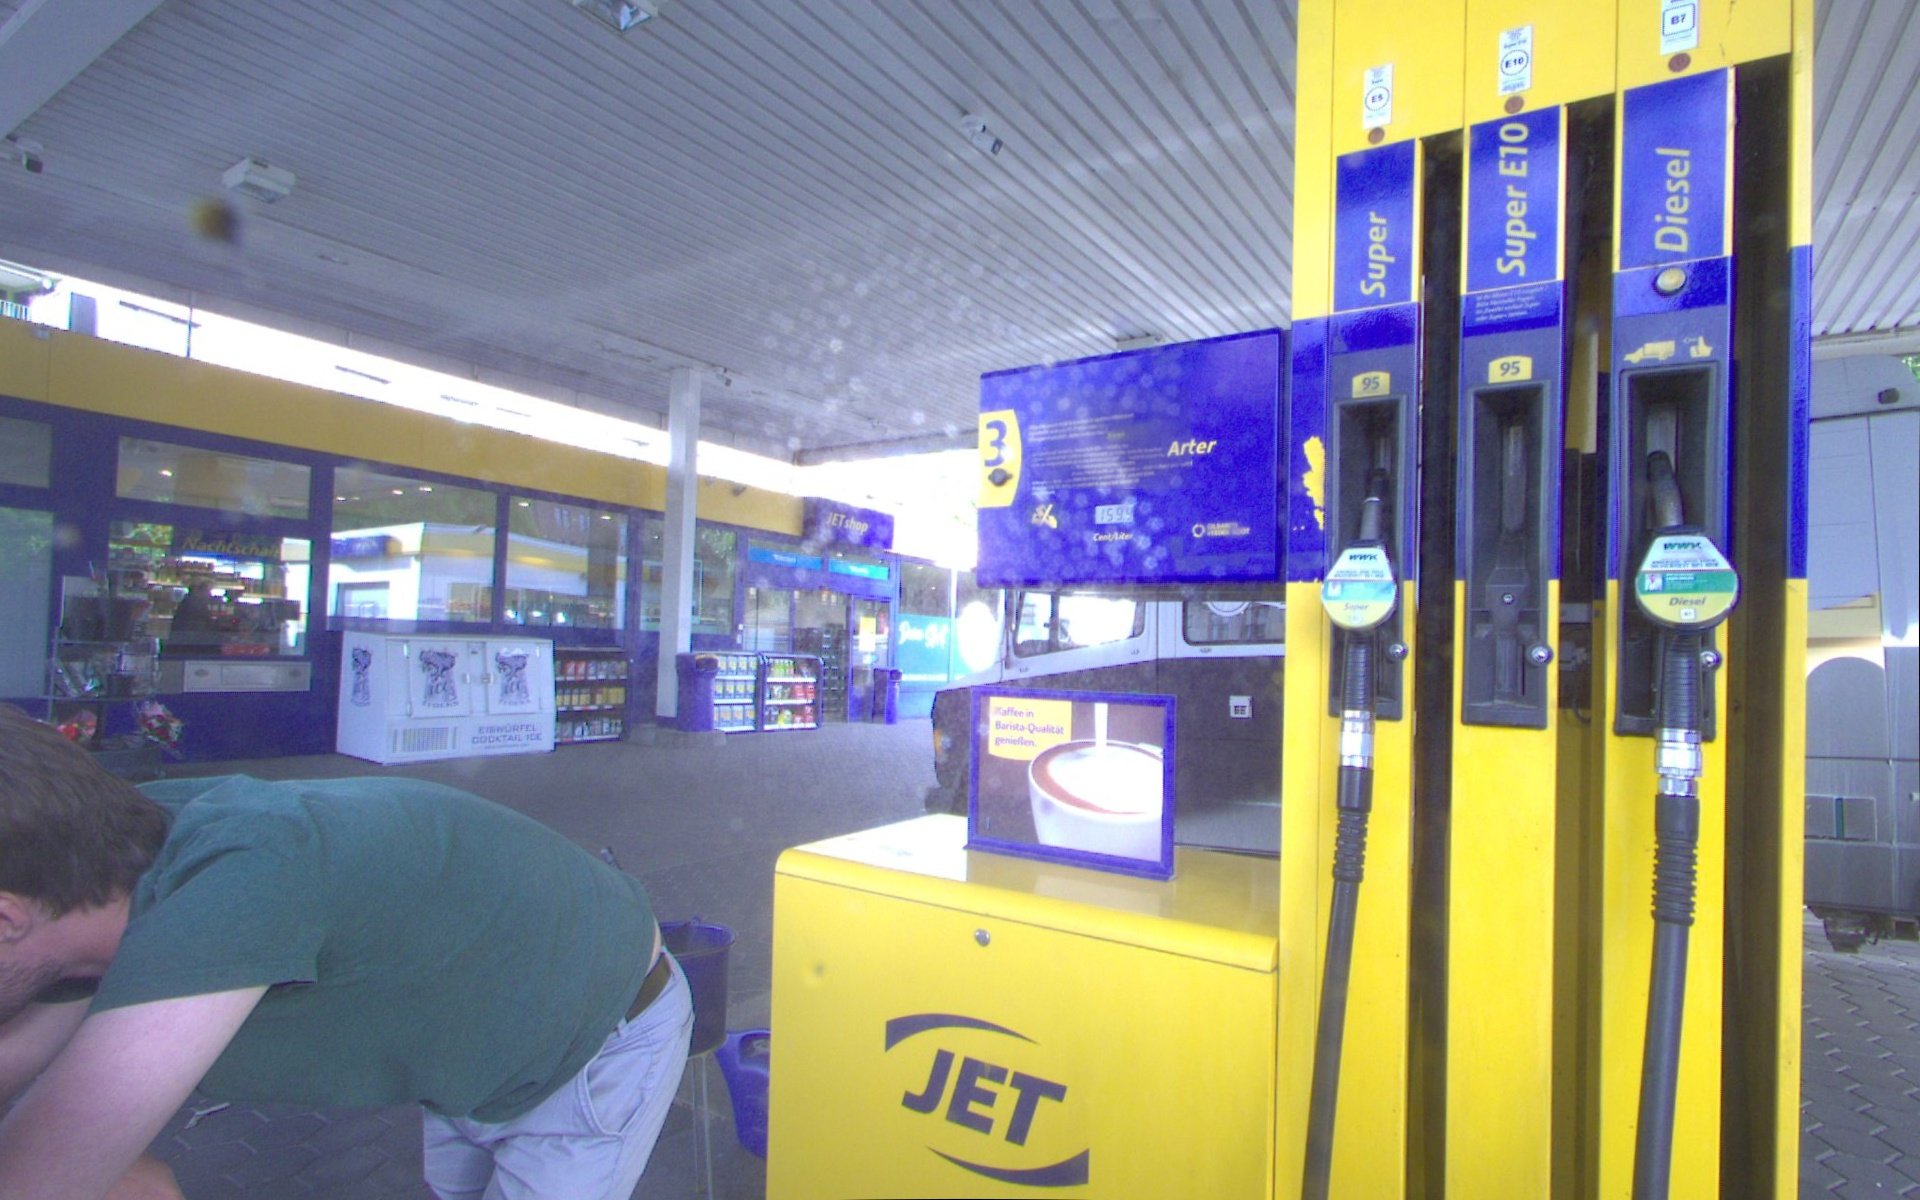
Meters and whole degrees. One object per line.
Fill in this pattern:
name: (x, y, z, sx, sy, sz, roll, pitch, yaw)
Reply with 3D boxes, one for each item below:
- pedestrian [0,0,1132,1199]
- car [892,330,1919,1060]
pedestrian: (-0.522, 0.579, 1.081, 0.981, 1.750, 1.175, -2, -2, 36)
car: (2.349, 0.437, 5.999, 5.271, 2.759, 2.193, -1, -3, 34)
